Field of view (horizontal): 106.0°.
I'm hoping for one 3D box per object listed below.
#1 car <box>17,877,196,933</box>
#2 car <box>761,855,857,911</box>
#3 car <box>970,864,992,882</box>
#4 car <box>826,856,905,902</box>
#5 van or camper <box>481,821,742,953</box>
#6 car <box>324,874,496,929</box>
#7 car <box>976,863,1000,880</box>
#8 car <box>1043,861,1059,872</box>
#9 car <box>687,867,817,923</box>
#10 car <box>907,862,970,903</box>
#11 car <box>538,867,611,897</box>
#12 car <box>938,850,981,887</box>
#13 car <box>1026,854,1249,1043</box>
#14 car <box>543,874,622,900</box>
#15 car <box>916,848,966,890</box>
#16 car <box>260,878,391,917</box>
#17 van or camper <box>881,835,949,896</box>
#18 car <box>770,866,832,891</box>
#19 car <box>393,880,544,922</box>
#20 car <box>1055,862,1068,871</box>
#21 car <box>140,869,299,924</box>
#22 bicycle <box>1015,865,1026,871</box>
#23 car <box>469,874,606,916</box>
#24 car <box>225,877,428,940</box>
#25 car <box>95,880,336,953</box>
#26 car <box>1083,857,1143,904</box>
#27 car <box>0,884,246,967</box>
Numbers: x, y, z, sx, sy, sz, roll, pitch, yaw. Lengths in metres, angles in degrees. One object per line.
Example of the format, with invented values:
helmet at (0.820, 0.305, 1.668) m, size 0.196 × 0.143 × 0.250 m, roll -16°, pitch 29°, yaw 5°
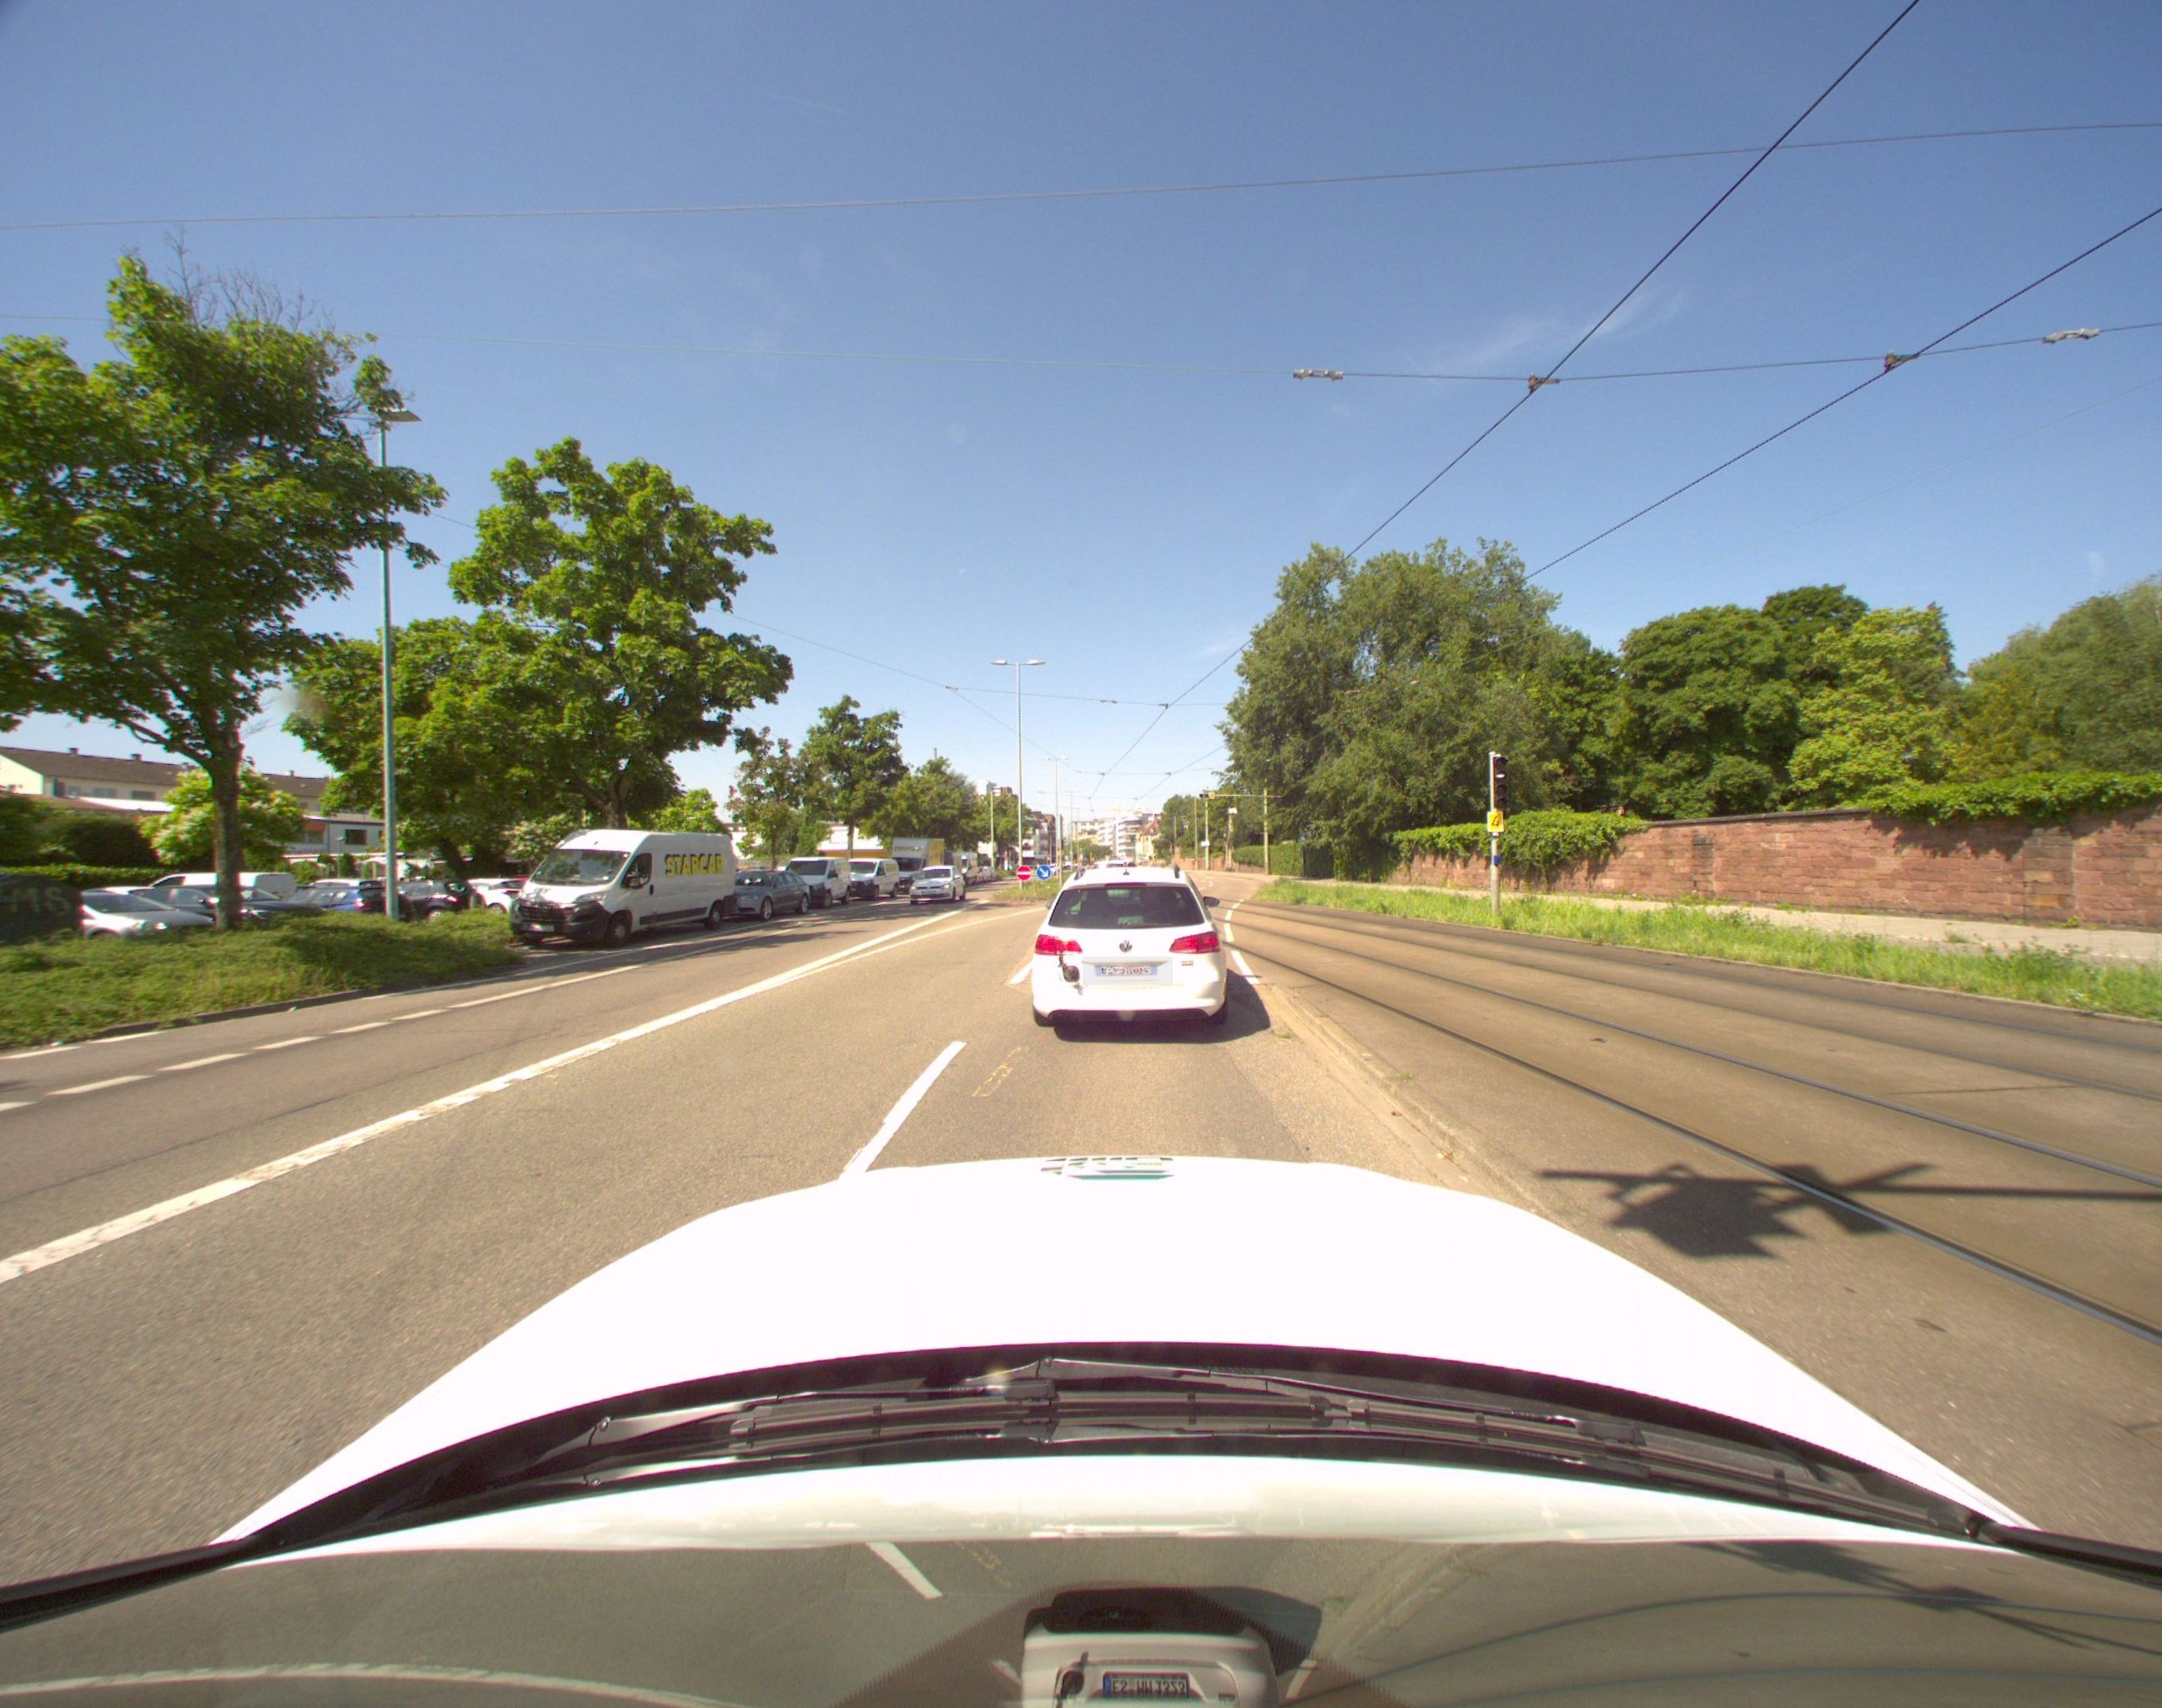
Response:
car at (-33.911, 1.741, 28.427) m, size 3.977 × 1.728 × 1.734 m, roll -2°, pitch -1°, yaw -3°
car at (-10.393, 1.063, 31.605) m, size 2.191 × 1.941 × 5.179 m, roll -2°, pitch -1°, yaw -3°
car at (-8.900, 1.688, 72.500) m, size 1.287 × 1.490 × 4.351 m, roll 1°, pitch 0°, yaw 1°
car at (-10.056, 1.129, 38.500) m, size 2.188 × 1.941 × 5.186 m, roll -2°, pitch -1°, yaw 1°
van or camper at (-10.464, 0.677, 18.989) m, size 2.248 × 2.515 × 6.151 m, roll -2°, pitch -1°, yaw 3°
car at (-21.012, 1.460, 25.610) m, size 3.973 × 1.544 × 1.663 m, roll -2°, pitch -1°, yaw 0°
car at (-8.851, 1.662, 77.734) m, size 1.597 × 1.490 × 4.620 m, roll 1°, pitch 0°, yaw 3°
car at (-4.017, 1.665, 109.148) m, size 1.785 × 1.422 × 4.336 m, roll -1°, pitch -1°, yaw 1°
car at (-10.026, 1.193, 25.299) m, size 1.925 × 1.455 × 4.886 m, roll -2°, pitch -1°, yaw 1°
car at (-5.552, 1.088, 32.164) m, size 1.722 × 1.465 × 4.000 m, roll -2°, pitch 0°, yaw 0°
car at (-36.235, 2.004, 58.321) m, size 3.977 × 2.003 × 1.909 m, roll -1°, pitch -1°, yaw -3°
car at (-9.120, 1.076, 61.557) m, size 2.188 × 2.631 × 5.980 m, roll 1°, pitch 0°, yaw 1°
car at (0.514, 0.767, 8.439) m, size 1.772 × 1.490 × 3.848 m, roll 1°, pitch 0°, yaw 2°
car at (-32.319, 2.110, 52.865) m, size 3.977 × 1.544 × 1.784 m, roll -2°, pitch -1°, yaw -3°
car at (-9.329, 0.965, 54.842) m, size 2.188 × 2.669 × 6.081 m, roll 1°, pitch 0°, yaw 1°
car at (-33.374, 1.909, 36.067) m, size 3.977 × 1.544 × 1.784 m, roll -2°, pitch -1°, yaw -3°
van or camper at (-9.416, 0.614, 46.915) m, size 2.187 × 3.241 × 6.775 m, roll 1°, pitch 0°, yaw 2°
car at (-20.678, 1.799, 60.233) m, size 3.975 × 1.694 × 1.662 m, roll -2°, pitch -1°, yaw -1°
car at (-21.049, 1.590, 28.095) m, size 3.902 × 1.271 × 1.663 m, roll -2°, pitch -1°, yaw 0°
car at (-3.435, 2.186, 144.903) m, size 2.036 × 1.597 × 4.660 m, roll -2°, pitch -1°, yaw 1°
car at (-32.660, 1.580, 30.949) m, size 3.977 × 1.891 × 1.784 m, roll -2°, pitch -1°, yaw -3°
bicycle at (-10.497, 2.413, 141.578) m, size 0.546 × 0.921 × 2.190 m, roll -2°, pitch -1°, yaw 44°
car at (-20.483, 1.530, 30.797) m, size 3.973 × 1.409 × 1.732 m, roll -2°, pitch -1°, yaw 0°
car at (-20.800, 1.471, 22.570) m, size 3.975 × 1.544 × 1.663 m, roll -2°, pitch -1°, yaw -1°
car at (-20.851, 1.473, 19.738) m, size 3.975 × 1.544 × 1.663 m, roll -2°, pitch -1°, yaw -1°
car at (1.260, 0.936, 30.328) m, size 1.720 × 1.596 × 4.022 m, roll 0°, pitch 0°, yaw 10°
car at (-20.637, 1.481, 17.307) m, size 3.975 × 1.544 × 1.663 m, roll -2°, pitch -1°, yaw -1°
